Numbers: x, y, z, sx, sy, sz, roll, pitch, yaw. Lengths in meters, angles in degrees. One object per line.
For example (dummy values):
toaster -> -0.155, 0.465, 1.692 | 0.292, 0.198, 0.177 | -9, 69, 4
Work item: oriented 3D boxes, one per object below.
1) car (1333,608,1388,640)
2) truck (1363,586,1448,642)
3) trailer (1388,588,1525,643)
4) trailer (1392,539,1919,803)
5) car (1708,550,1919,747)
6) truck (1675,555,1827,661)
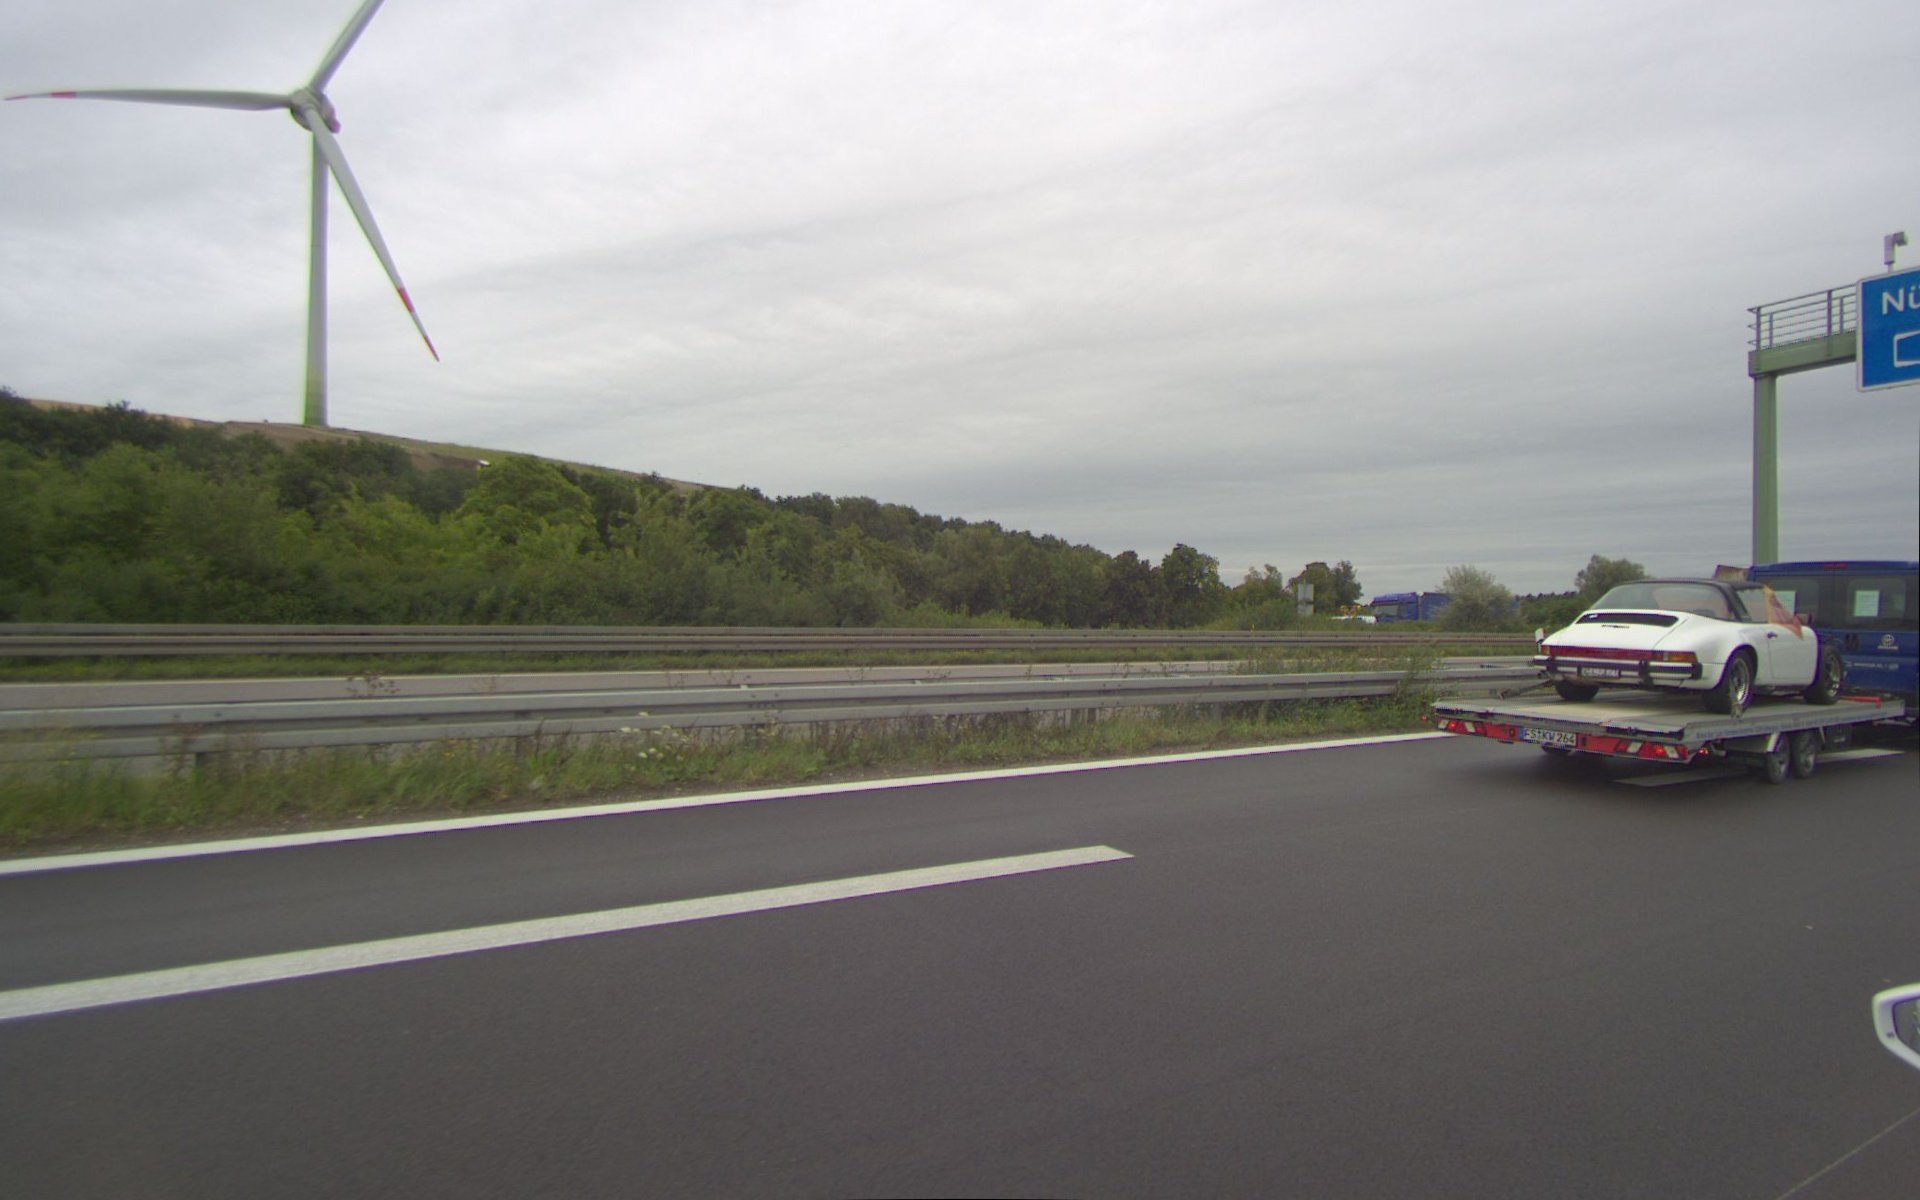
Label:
car -> 30.484, 1.821, 76.391 | 3.957, 2.408, 2.010 | 1, 0, -33
truck -> 32.697, 1.041, 73.754 | 5.833, 3.978, 2.943 | 1, 0, -32
trailer -> 38.448, 1.257, 77.425 | 13.377, 3.978, 2.943 | 1, 0, -32
trailer -> 7.813, 0.606, 10.607 | 6.986, 2.021, 2.471 | 2, 0, -33
car -> 13.294, 0.623, 14.148 | 6.188, 2.297, 2.359 | 2, 0, -33
truck -> 31.480, 0.397, 39.868 | 7.269, 3.863, 2.621 | 2, 0, -34
